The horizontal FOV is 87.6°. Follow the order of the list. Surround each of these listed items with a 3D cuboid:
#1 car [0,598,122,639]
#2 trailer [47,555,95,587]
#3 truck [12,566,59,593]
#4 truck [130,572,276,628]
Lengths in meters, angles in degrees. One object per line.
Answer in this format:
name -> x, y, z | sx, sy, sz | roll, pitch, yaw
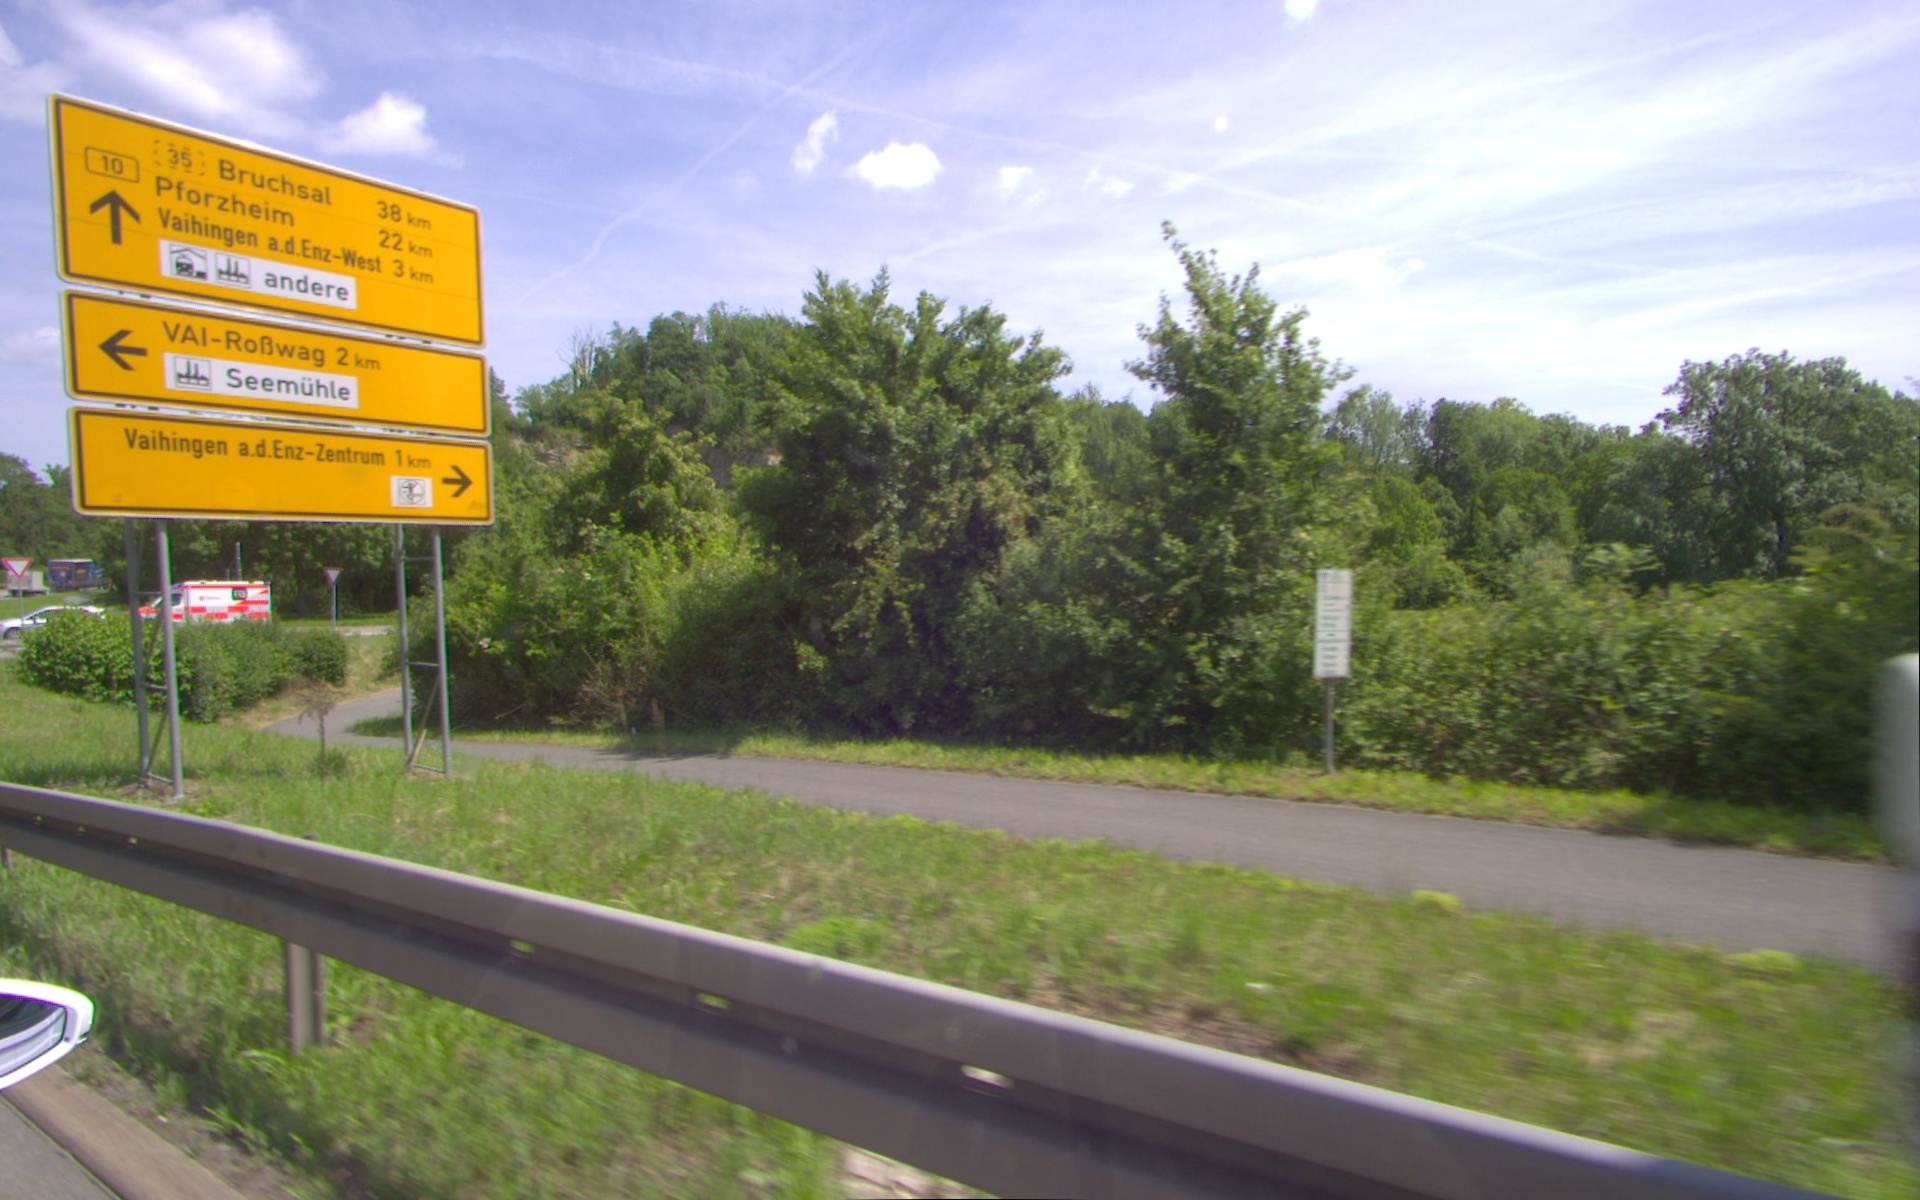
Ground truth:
car -> -40.808, 0.849, 45.129 | 1.977, 1.740, 4.408 | -2, -3, 40
trailer -> -116.496, -3.744, 131.337 | 3.218, 3.734, 9.195 | 0, 0, -32
truck -> -108.310, -2.378, 117.397 | 2.826, 2.986, 7.062 | 0, 0, -32
truck -> -39.475, 0.069, 52.488 | 5.953, 2.762, 2.486 | 1, -2, -35
